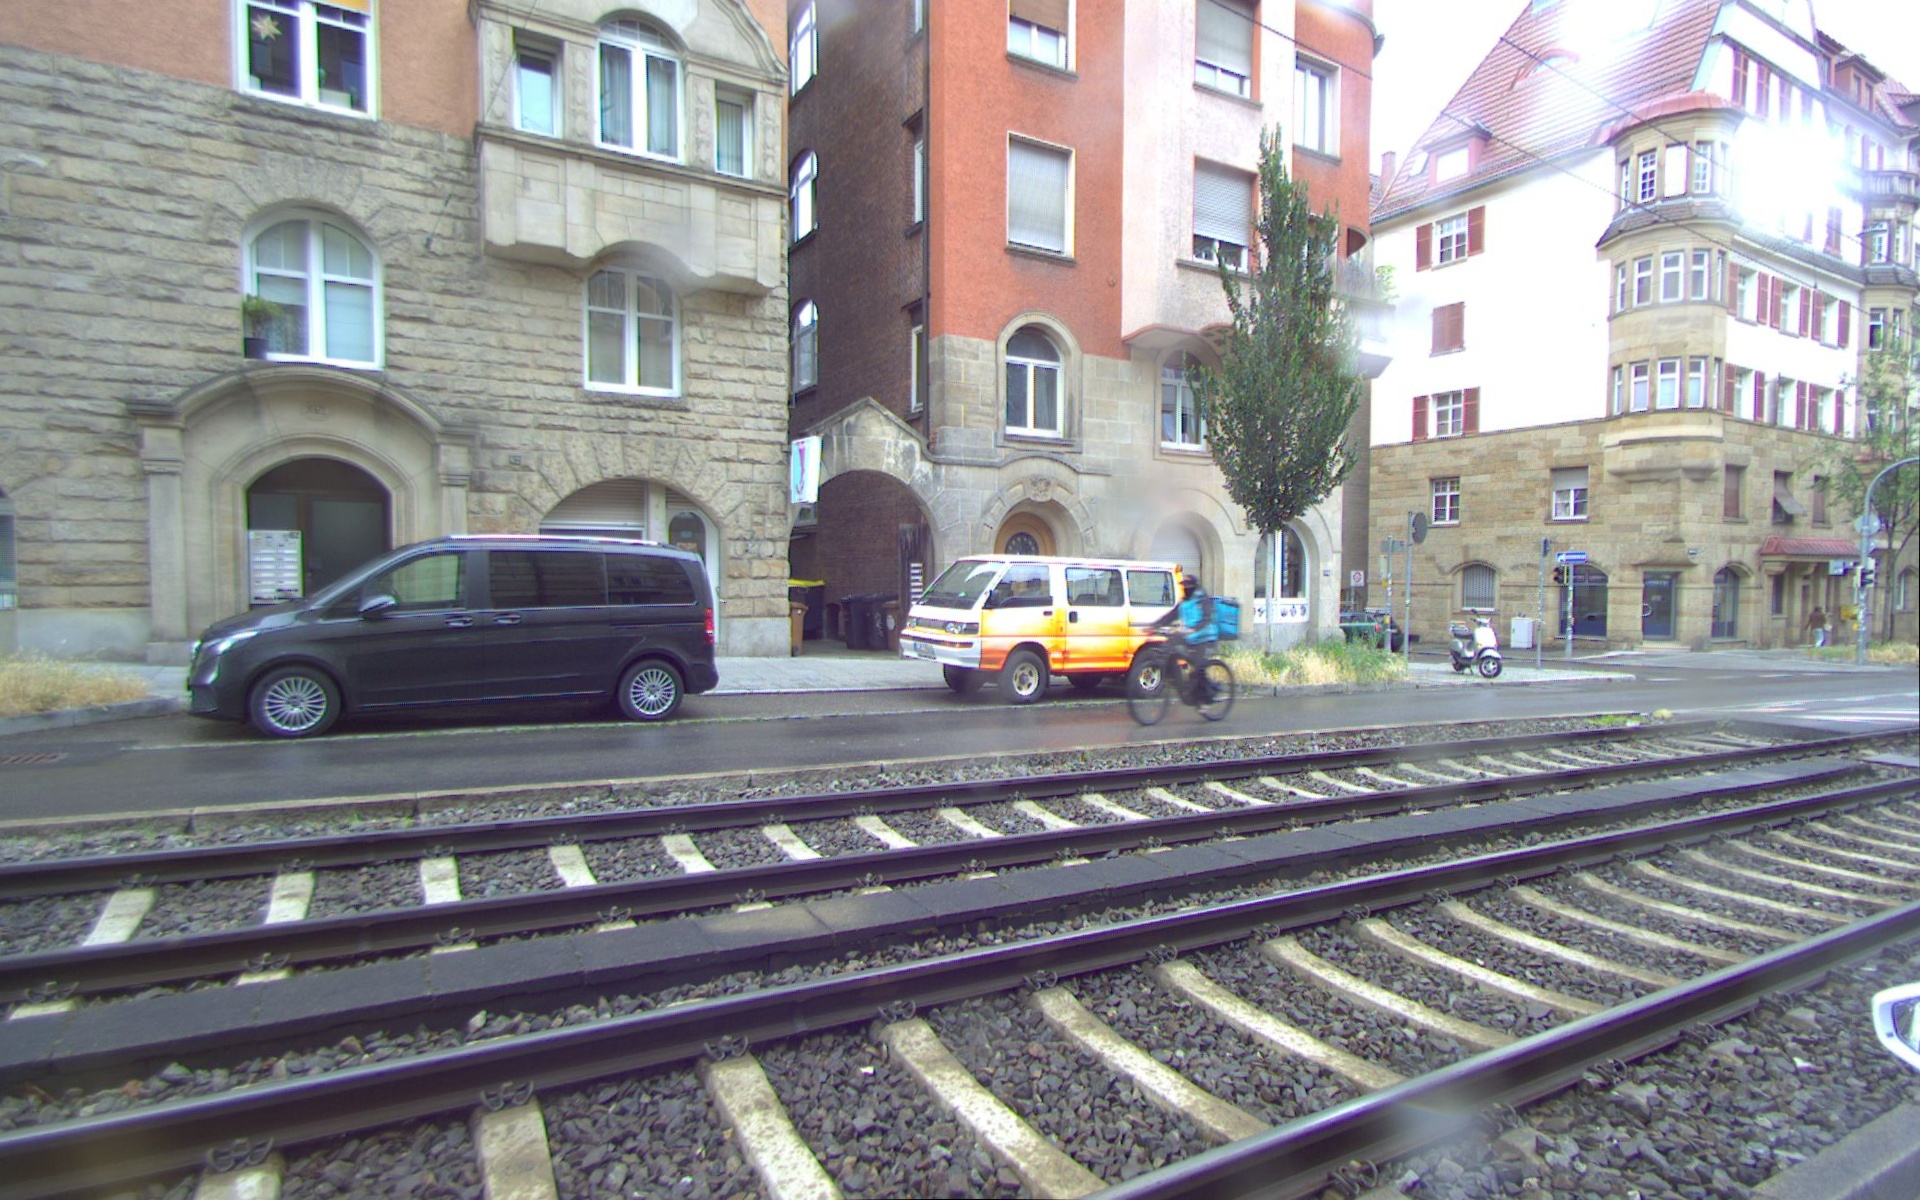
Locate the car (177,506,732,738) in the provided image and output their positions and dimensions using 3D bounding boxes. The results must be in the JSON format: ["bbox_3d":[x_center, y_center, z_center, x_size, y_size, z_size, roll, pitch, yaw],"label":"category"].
[{"bbox_3d":[-5.051,0.248,10.598,4.769,1.968,1.984,2,0,-30],"label":"car"}]

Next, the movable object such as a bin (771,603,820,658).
[{"bbox_3d":[-2.892,0.520,17.594,0.627,0.918,0.793,1,1,-27],"label":"movable object such as a bin"}]

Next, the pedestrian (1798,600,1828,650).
[{"bbox_3d":[29.568,0.867,34.808,0.696,1.695,0.626,2,0,-37],"label":"pedestrian"}]

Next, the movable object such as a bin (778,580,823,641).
[{"bbox_3d":[-3.612,0.234,22.660,0.676,1.324,1.154,1,1,-26],"label":"movable object such as a bin"}]

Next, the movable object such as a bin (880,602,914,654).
[{"bbox_3d":[-1.174,0.512,18.635,0.442,0.957,0.557,1,-1,-27],"label":"movable object such as a bin"}]

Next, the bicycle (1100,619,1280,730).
[{"bbox_3d":[2.726,0.854,11.862,2.012,1.202,0.820,2,0,-29],"label":"bicycle"}]

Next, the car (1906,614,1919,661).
[{"bbox_3d":[34.165,1.331,34.361,3.994,1.573,1.741,2,0,-34],"label":"car"}]

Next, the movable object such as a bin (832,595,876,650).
[{"bbox_3d":[-2.085,0.442,19.689,0.607,1.052,0.793,1,-1,-27],"label":"movable object such as a bin"}]

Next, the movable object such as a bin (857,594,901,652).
[{"bbox_3d":[-1.547,0.437,19.143,0.607,1.090,0.679,1,-1,-27],"label":"movable object such as a bin"}]

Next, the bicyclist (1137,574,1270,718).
[{"bbox_3d":[2.892,0.526,11.947,1.238,1.618,0.880,1,0,-29],"label":"bicyclist"}]

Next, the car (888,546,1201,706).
[{"bbox_3d":[1.275,0.374,14.443,4.295,2.001,1.721,2,0,-32],"label":"car"}]

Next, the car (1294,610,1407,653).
[{"bbox_3d":[14.458,1.151,37.349,1.683,1.423,3.618,2,0,-34],"label":"car"}]

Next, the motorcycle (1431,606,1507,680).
[{"bbox_3d":[10.105,0.829,20.006,0.612,1.384,1.596,2,0,-3],"label":"motorcycle"}]

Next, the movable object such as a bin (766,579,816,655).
[{"bbox_3d":[-3.107,0.298,18.467,0.648,1.360,0.903,1,1,-27],"label":"movable object such as a bin"}]
